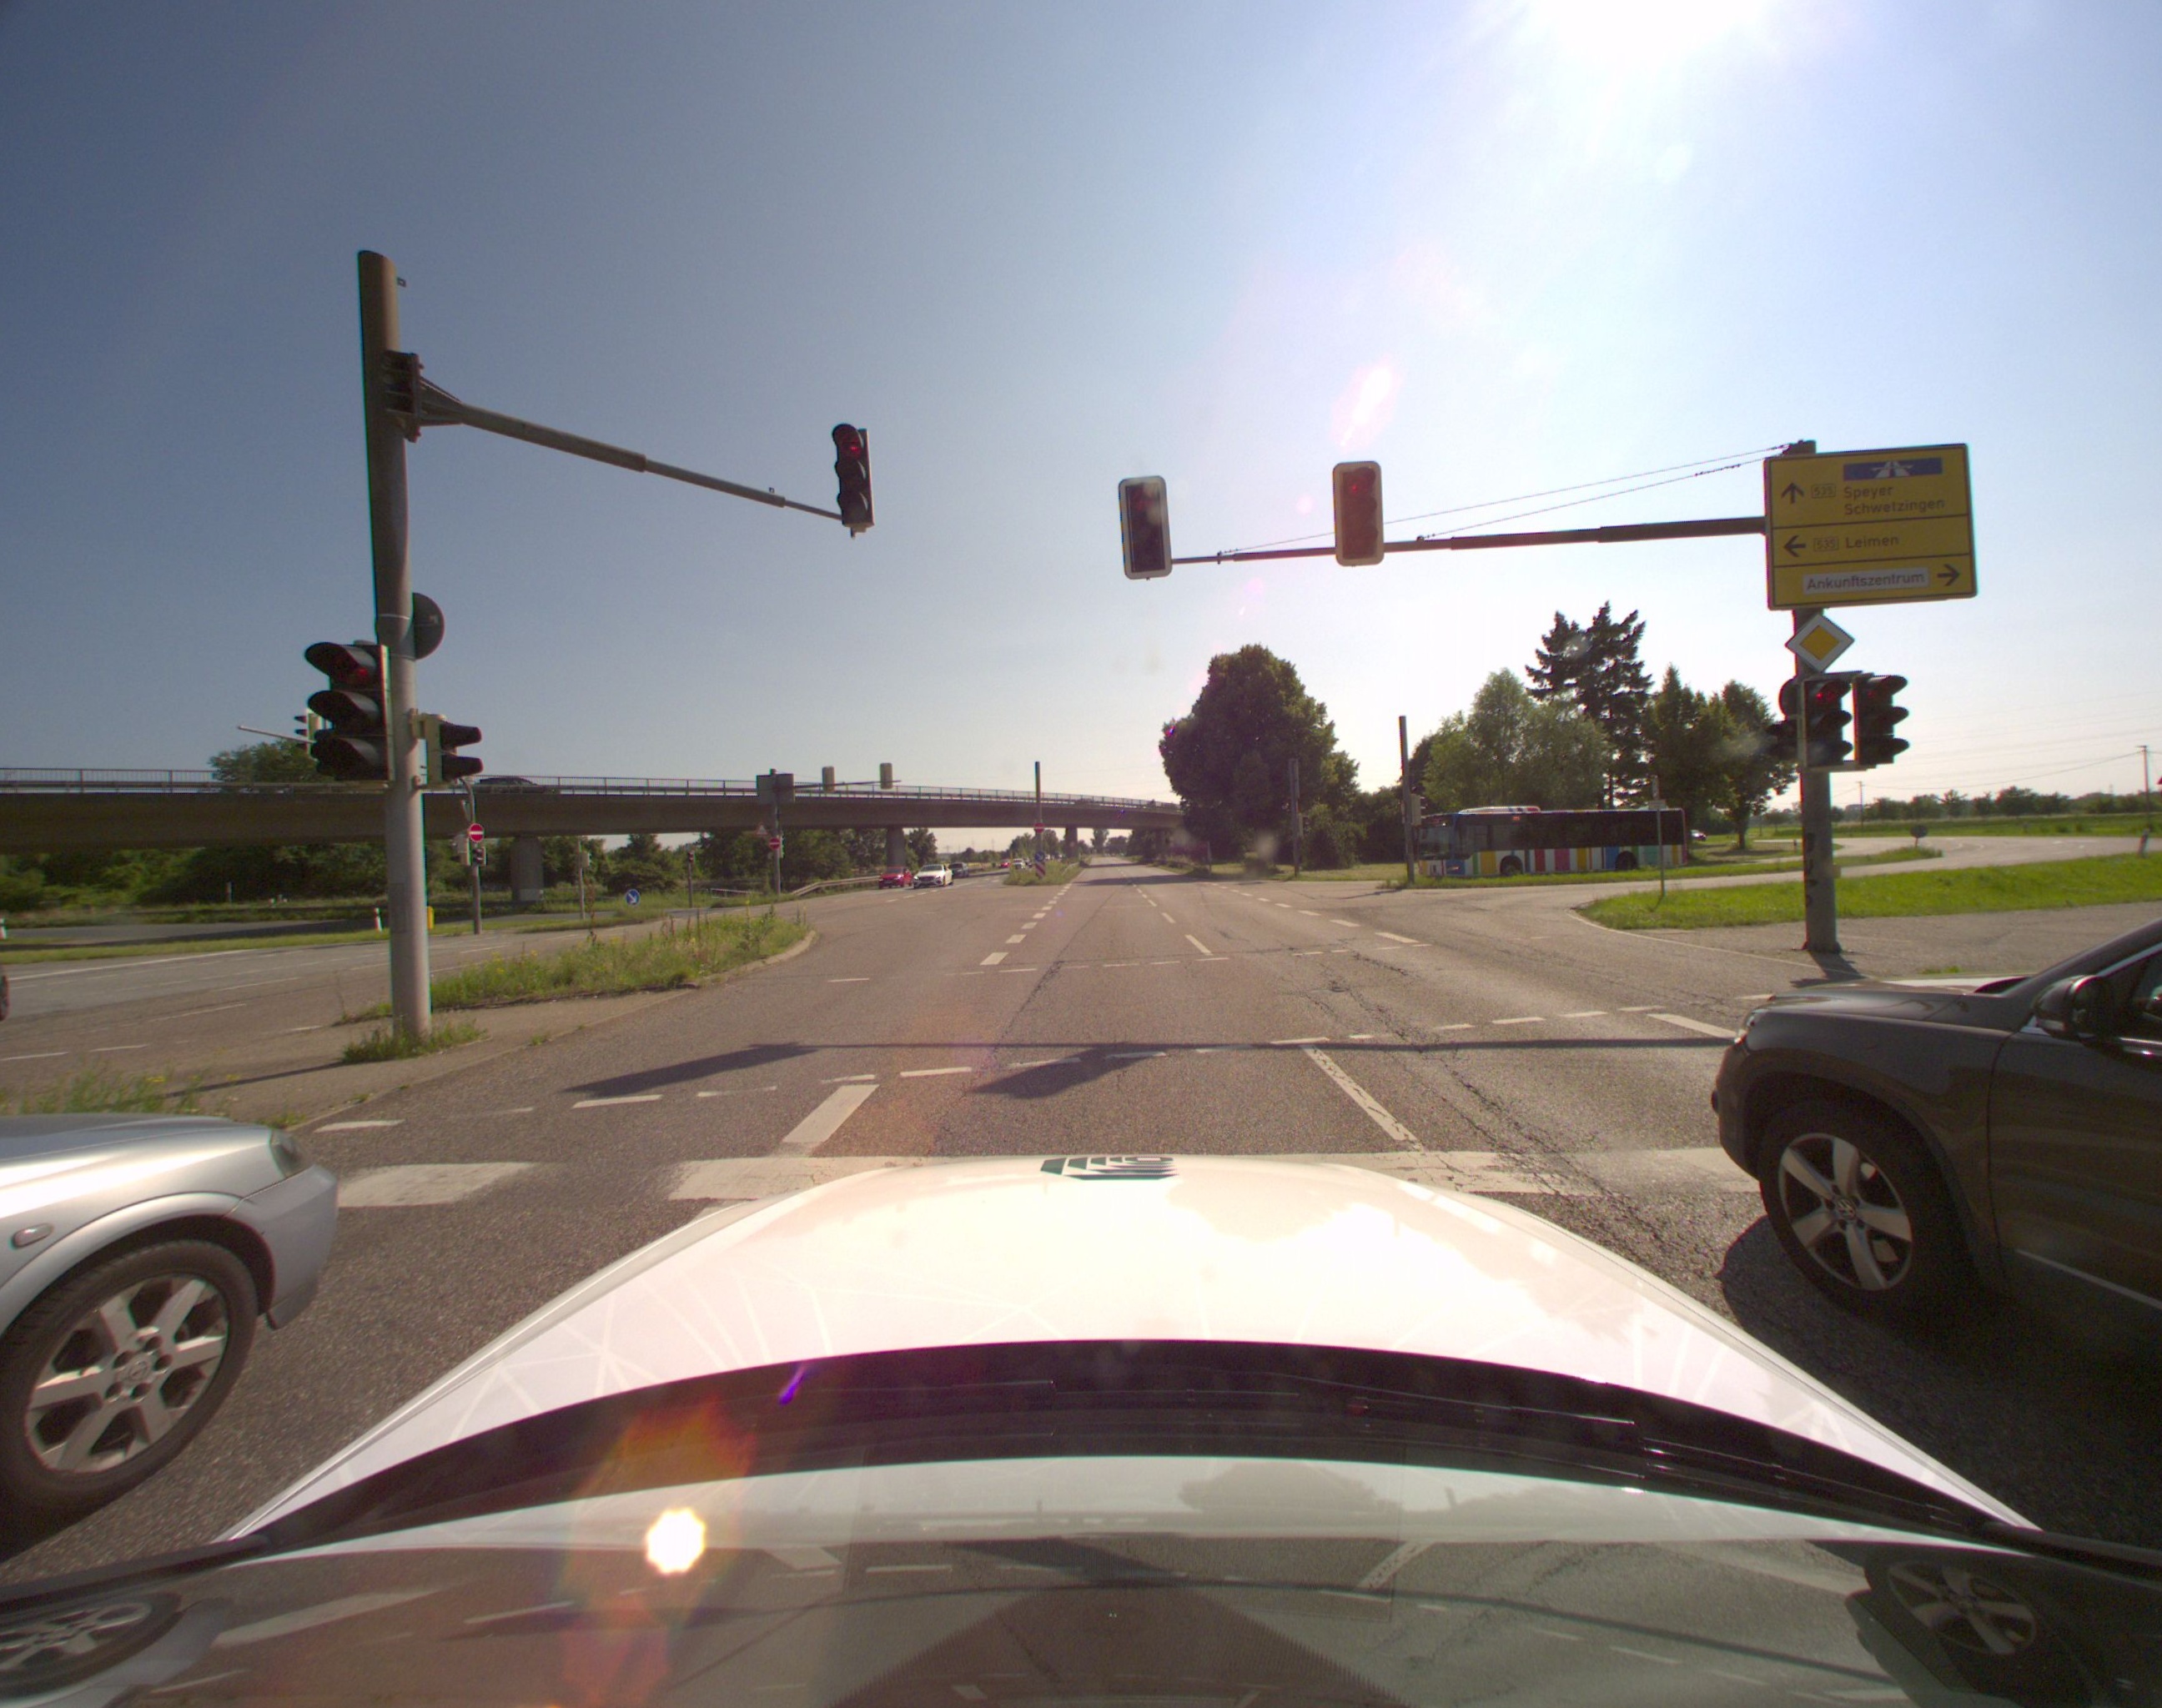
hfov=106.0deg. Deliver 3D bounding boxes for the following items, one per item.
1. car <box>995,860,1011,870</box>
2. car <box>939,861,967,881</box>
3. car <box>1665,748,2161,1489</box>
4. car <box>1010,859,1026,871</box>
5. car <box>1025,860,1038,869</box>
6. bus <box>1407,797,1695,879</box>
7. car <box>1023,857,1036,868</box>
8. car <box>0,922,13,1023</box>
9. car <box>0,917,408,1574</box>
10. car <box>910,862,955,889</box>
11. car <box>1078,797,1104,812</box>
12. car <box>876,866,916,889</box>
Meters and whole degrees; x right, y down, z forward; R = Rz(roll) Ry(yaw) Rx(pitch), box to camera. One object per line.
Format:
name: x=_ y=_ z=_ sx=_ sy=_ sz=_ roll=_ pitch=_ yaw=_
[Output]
car: x=-13.615 y=1.964 z=142.435 sx=1.983 sy=1.558 sz=4.008 roll=-3 pitch=0 yaw=7
car: x=-11.749 y=1.565 z=75.157 sx=1.784 sy=1.628 sz=4.000 roll=-3 pitch=0 yaw=1
car: x=3.273 y=0.582 z=1.307 sx=1.749 sy=1.655 sz=4.147 roll=-1 pitch=0 yaw=1
car: x=-8.028 y=1.395 z=104.648 sx=1.551 sy=1.540 sz=4.001 roll=-3 pitch=0 yaw=2
car: x=-7.443 y=1.602 z=122.251 sx=1.551 sy=1.259 sz=4.001 roll=-3 pitch=0 yaw=2
bus: x=20.222 y=-0.712 z=35.036 sx=11.954 sy=2.877 sz=2.928 roll=-3 pitch=0 yaw=-14
car: x=-10.245 y=1.690 z=161.779 sx=1.984 sy=2.013 sz=4.006 roll=-3 pitch=0 yaw=5
car: x=-15.536 y=1.715 z=10.415 sx=4.074 sy=1.424 sz=1.883 roll=-3 pitch=1 yaw=42
car: x=-3.227 y=0.921 z=0.738 sx=1.667 sy=1.335 sz=4.100 roll=-3 pitch=0 yaw=2
car: x=-9.220 y=1.285 z=50.946 sx=1.850 sy=1.448 sz=4.241 roll=-5 pitch=0 yaw=1
car: x=1.190 y=-5.726 z=94.504 sx=1.522 sy=1.477 sz=3.412 roll=-4 pitch=-1 yaw=29
car: x=-12.595 y=1.590 z=55.782 sx=1.634 sy=1.385 sz=4.241 roll=-3 pitch=0 yaw=1
